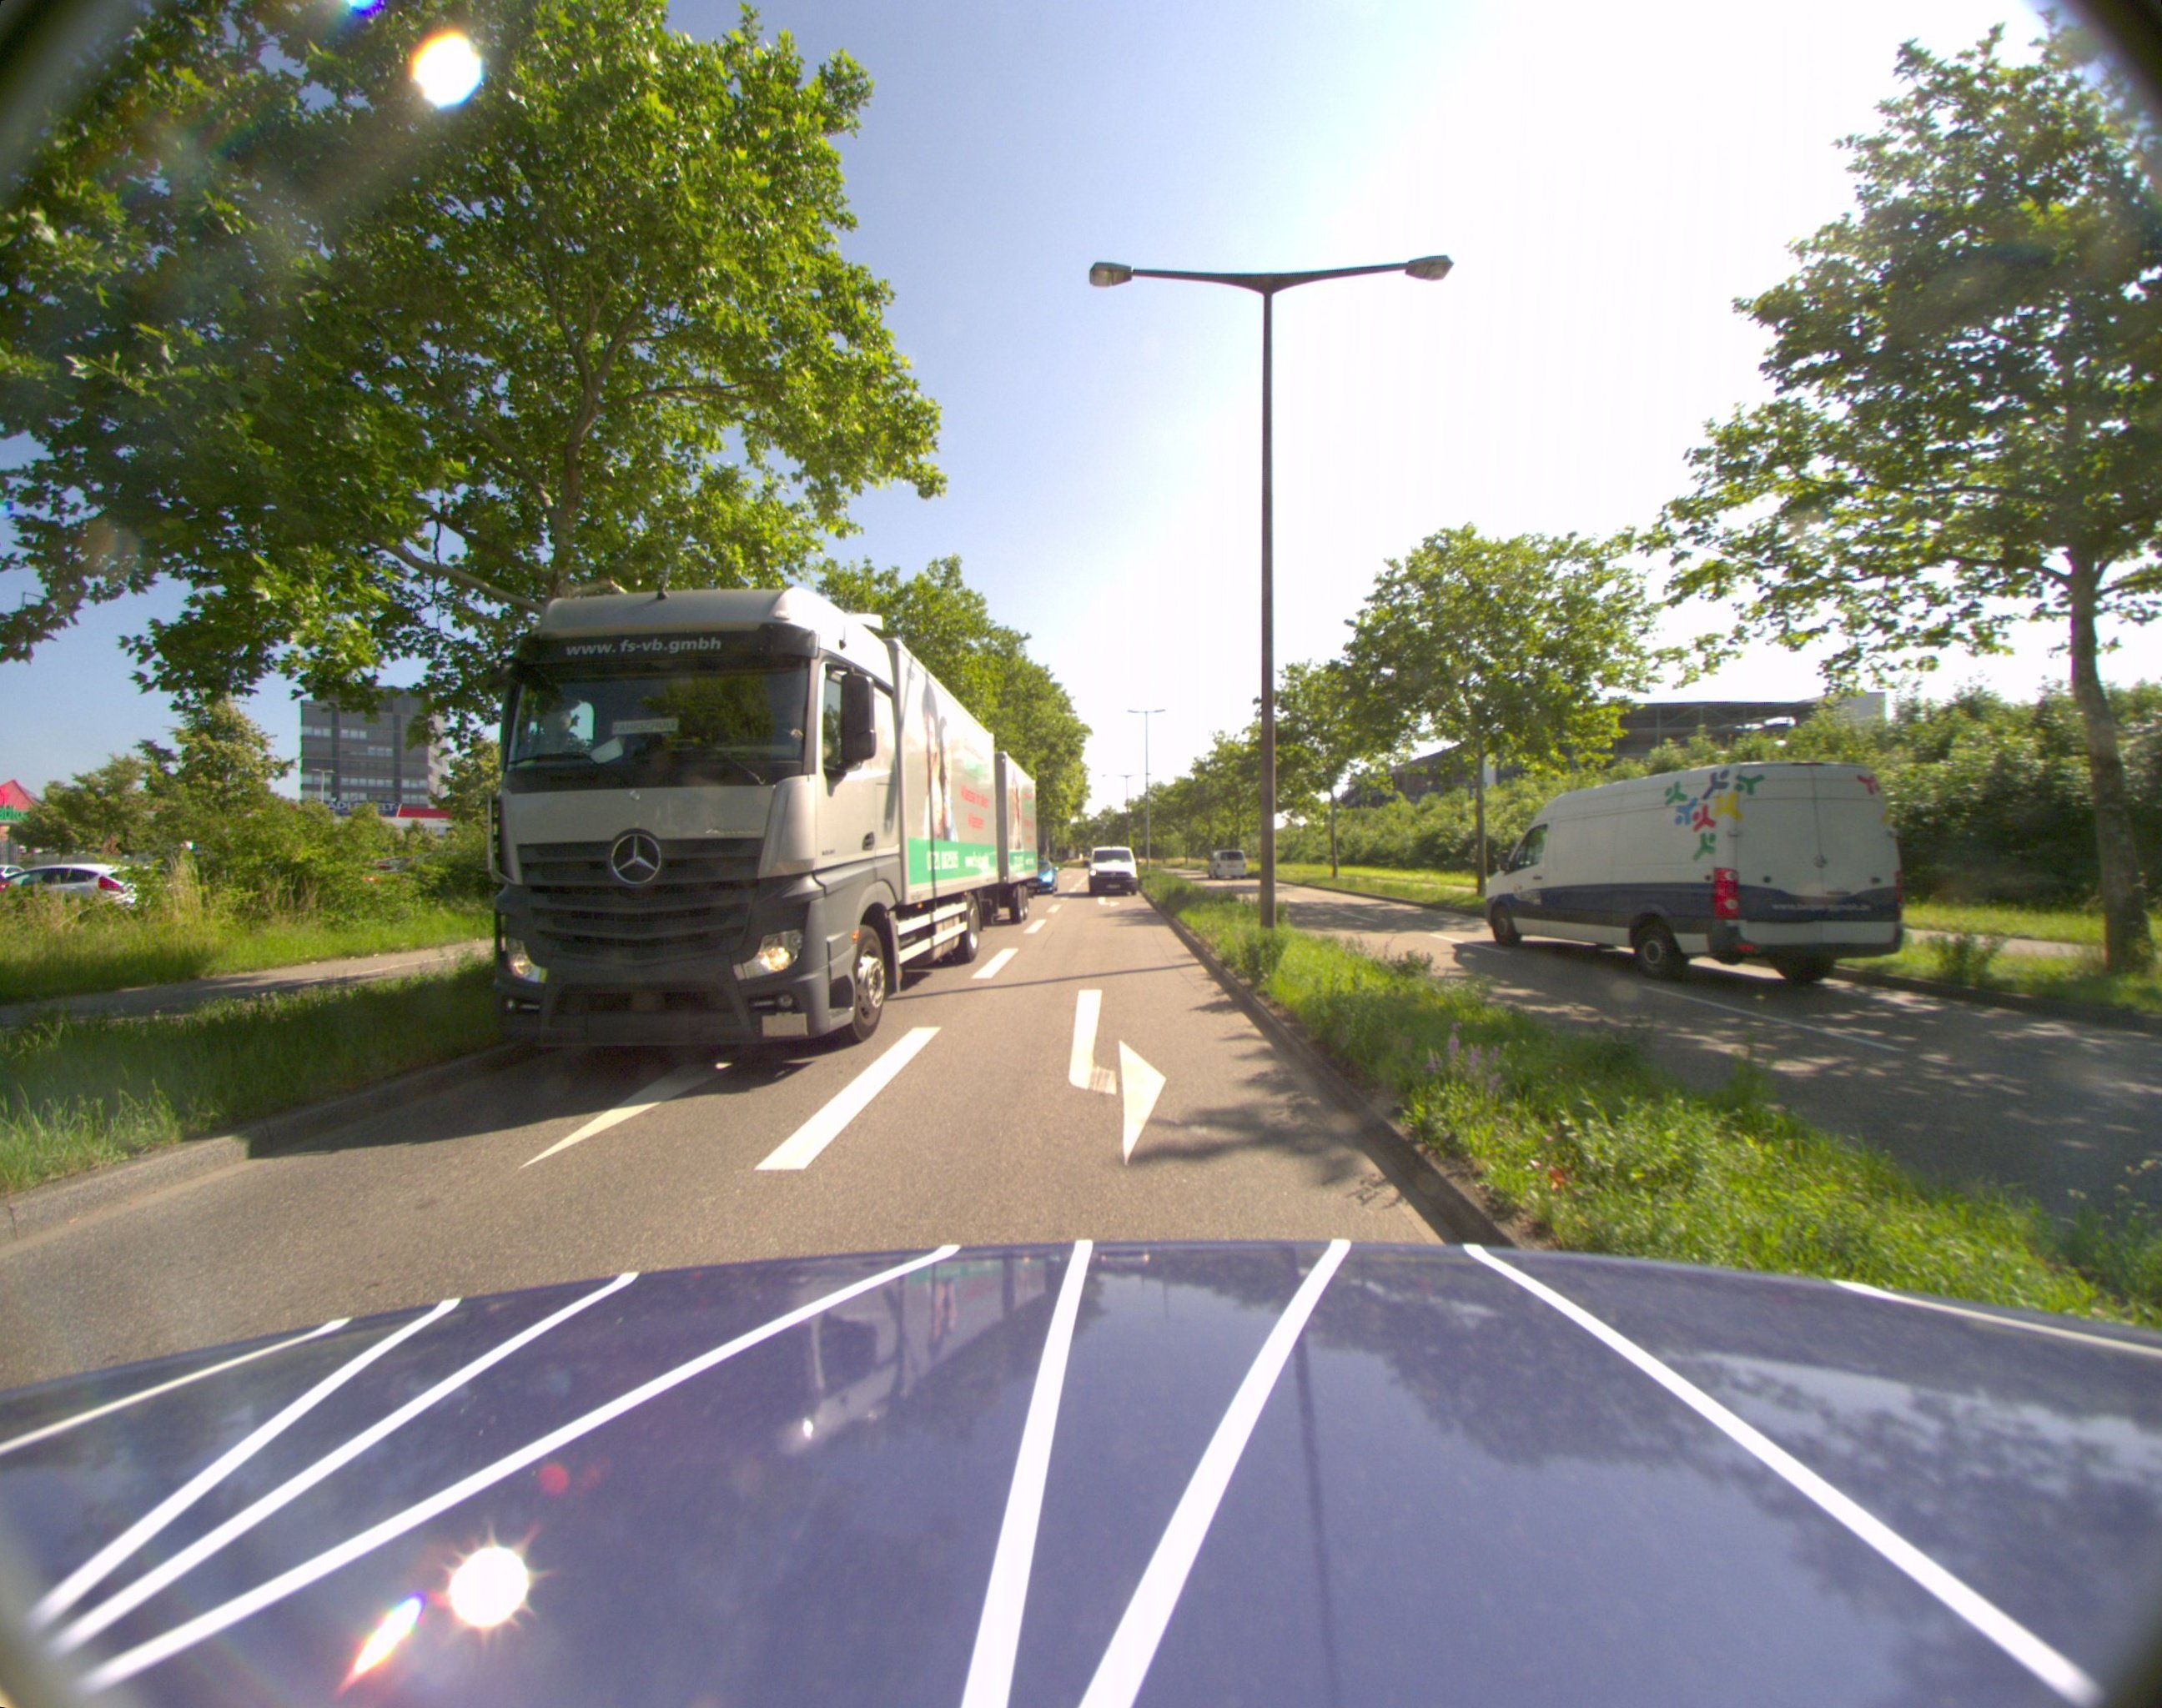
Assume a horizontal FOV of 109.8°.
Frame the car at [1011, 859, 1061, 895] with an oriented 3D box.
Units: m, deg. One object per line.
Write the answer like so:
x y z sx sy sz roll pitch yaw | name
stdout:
-1.891 0.959 32.900 1.872 1.412 4.130 0 0 1 | car

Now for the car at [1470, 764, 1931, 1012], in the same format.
8.134 0.349 11.064 1.998 2.647 5.786 1 0 1 | car

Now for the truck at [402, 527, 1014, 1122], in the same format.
-2.855 -0.212 9.363 2.735 3.867 8.723 -1 1 3 | truck

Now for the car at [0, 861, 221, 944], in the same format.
-22.148 1.051 16.729 4.083 1.582 1.880 -2 1 -2 | car

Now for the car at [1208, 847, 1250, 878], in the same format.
9.606 0.546 49.637 1.998 1.887 4.575 1 0 3 | car

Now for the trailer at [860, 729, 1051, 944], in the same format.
-2.430 -0.349 17.626 2.743 3.854 7.736 -1 1 3 | trailer

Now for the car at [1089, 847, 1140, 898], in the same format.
1.272 0.672 30.531 1.872 1.889 4.881 0 0 1 | car

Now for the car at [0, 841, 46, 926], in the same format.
-22.170 0.629 13.736 4.083 1.582 1.880 -2 1 -2 | car
